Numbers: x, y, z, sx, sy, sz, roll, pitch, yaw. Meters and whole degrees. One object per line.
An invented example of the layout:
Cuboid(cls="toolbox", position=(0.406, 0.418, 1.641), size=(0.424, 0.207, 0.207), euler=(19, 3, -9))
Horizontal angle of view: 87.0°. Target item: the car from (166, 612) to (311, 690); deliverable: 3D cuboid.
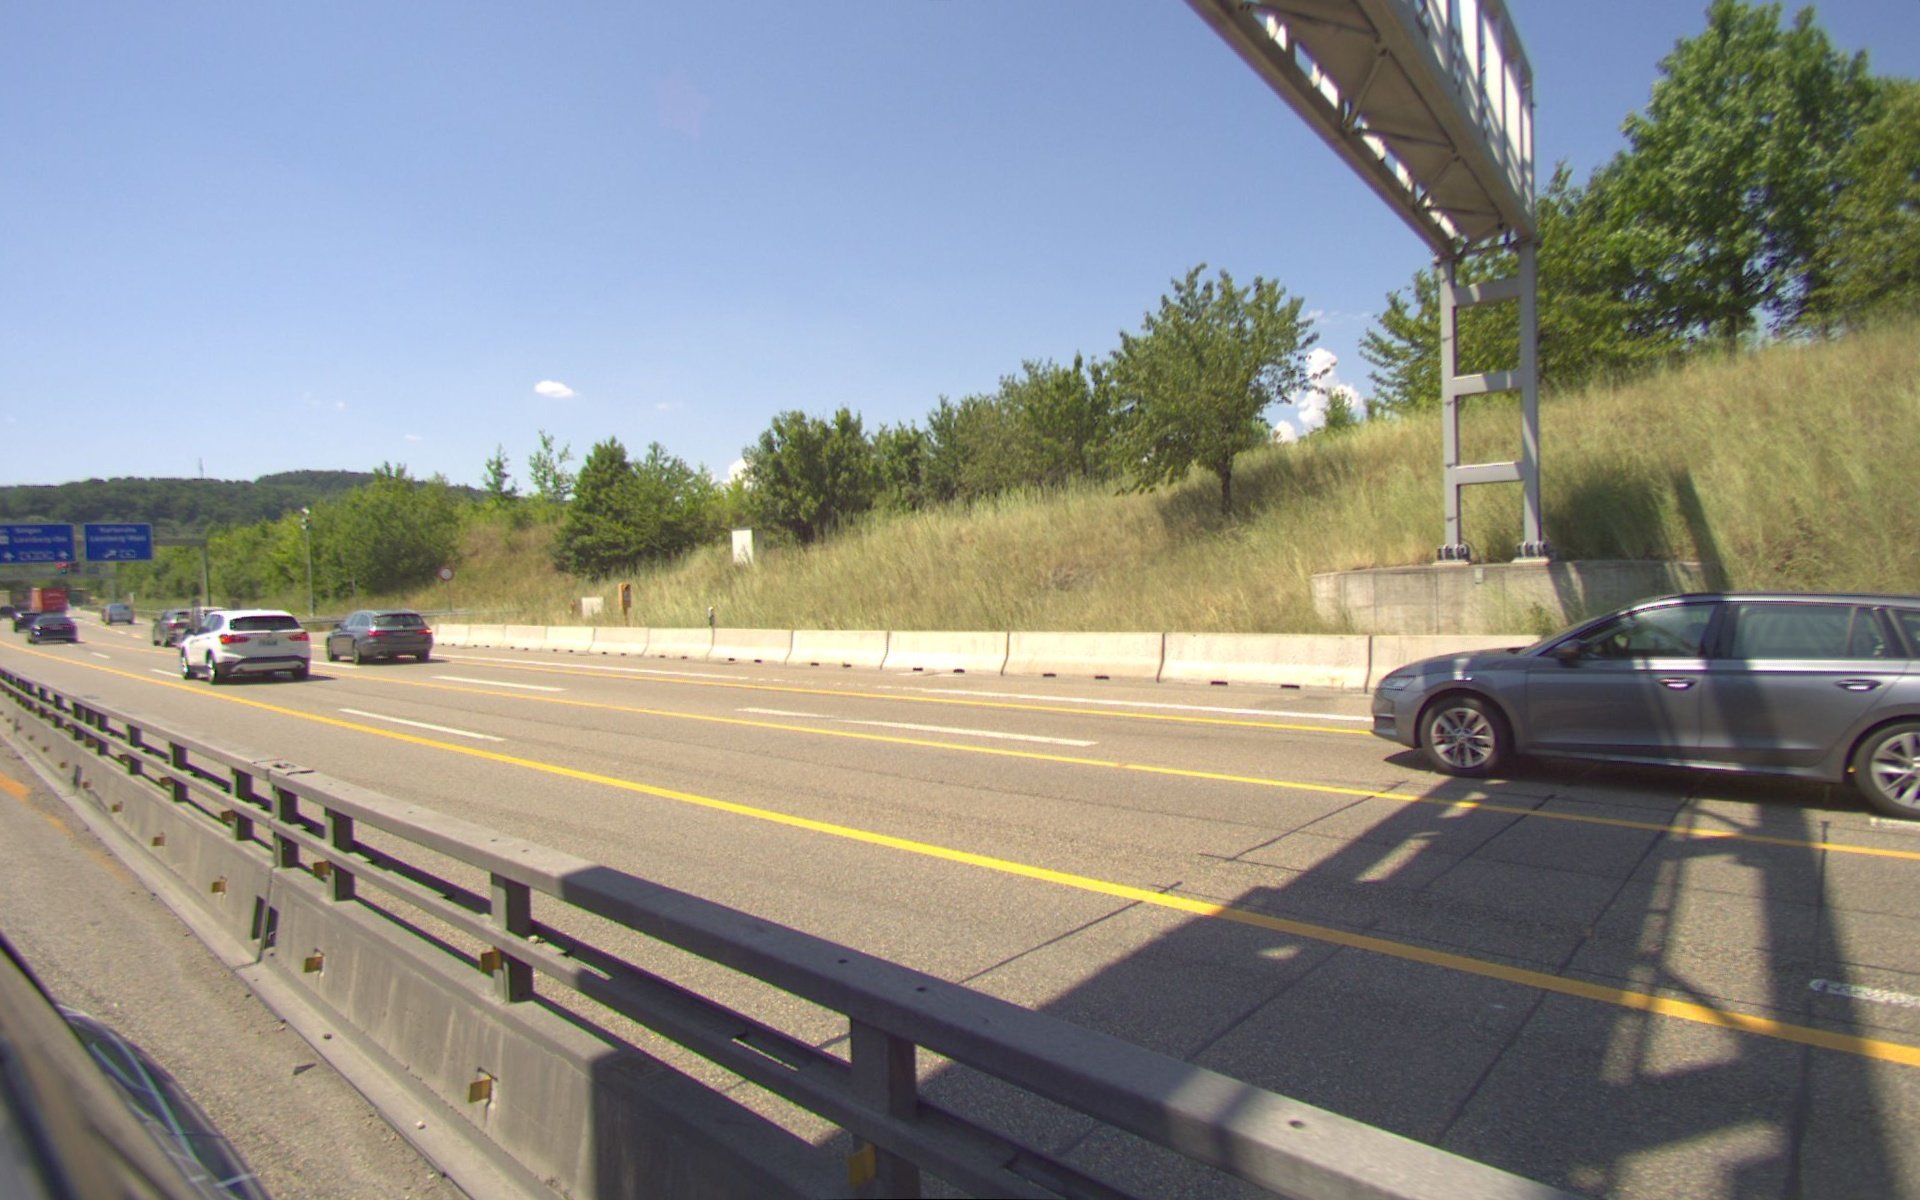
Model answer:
Cuboid(cls="car", position=(-16.451, 1.099, 22.979), size=(4.445, 1.589, 1.755), euler=(-2, -1, 42))

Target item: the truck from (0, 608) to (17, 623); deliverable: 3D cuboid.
Cuboid(cls="truck", position=(-126.139, 2.114, 133.779), size=(1.971, 1.887, 4.764), euler=(-3, 1, -44))

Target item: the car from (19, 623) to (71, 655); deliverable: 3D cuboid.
Cuboid(cls="car", position=(-49.445, 2.103, 54.654), size=(4.987, 1.605, 1.754), euler=(-2, -1, 44))

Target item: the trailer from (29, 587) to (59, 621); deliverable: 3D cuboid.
Cuboid(cls="trailer", position=(-120.026, 0.538, 132.492), size=(2.311, 4.133, 13.271), euler=(-3, 2, -44))

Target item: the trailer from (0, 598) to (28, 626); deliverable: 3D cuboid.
Cuboid(cls="trailer", position=(-151.929, 1.900, 162.040), size=(13.804, 4.328, 2.410), euler=(-1, 2, 42))

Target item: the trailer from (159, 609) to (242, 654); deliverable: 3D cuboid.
Cuboid(cls="trailer", position=(-32.760, 1.341, 43.564), size=(5.522, 1.819, 1.925), euler=(-2, -1, 43))

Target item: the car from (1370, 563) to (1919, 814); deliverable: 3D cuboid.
Cuboid(cls="car", position=(5.683, 0.562, 7.513), size=(4.563, 1.527, 1.755), euler=(-2, -1, 42))

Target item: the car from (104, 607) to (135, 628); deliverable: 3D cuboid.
Cuboid(cls="car", position=(-78.628, 1.626, 94.623), size=(4.788, 1.848, 1.669), euler=(0, 0, 43))

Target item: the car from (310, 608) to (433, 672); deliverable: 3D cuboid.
Cuboid(cls="car", position=(-17.007, 1.115, 29.148), size=(4.807, 1.679, 1.754), euler=(-2, -1, 43))

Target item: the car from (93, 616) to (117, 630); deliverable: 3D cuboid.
Cuboid(cls="car", position=(-91.402, 2.469, 108.197), size=(1.667, 1.405, 4.003), euler=(0, 0, -44))

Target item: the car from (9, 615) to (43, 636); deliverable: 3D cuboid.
Cuboid(cls="car", position=(-73.166, 1.987, 79.257), size=(4.229, 1.605, 1.723), euler=(-1, 0, 45))

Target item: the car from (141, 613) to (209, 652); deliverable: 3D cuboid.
Cuboid(cls="car", position=(-36.570, 1.499, 47.093), size=(4.867, 1.740, 1.754), euler=(-2, -1, 43))

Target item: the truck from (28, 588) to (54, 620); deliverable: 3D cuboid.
Cuboid(cls="truck", position=(-124.576, 0.544, 137.195), size=(2.307, 4.138, 5.021), euler=(-3, 2, -44))
